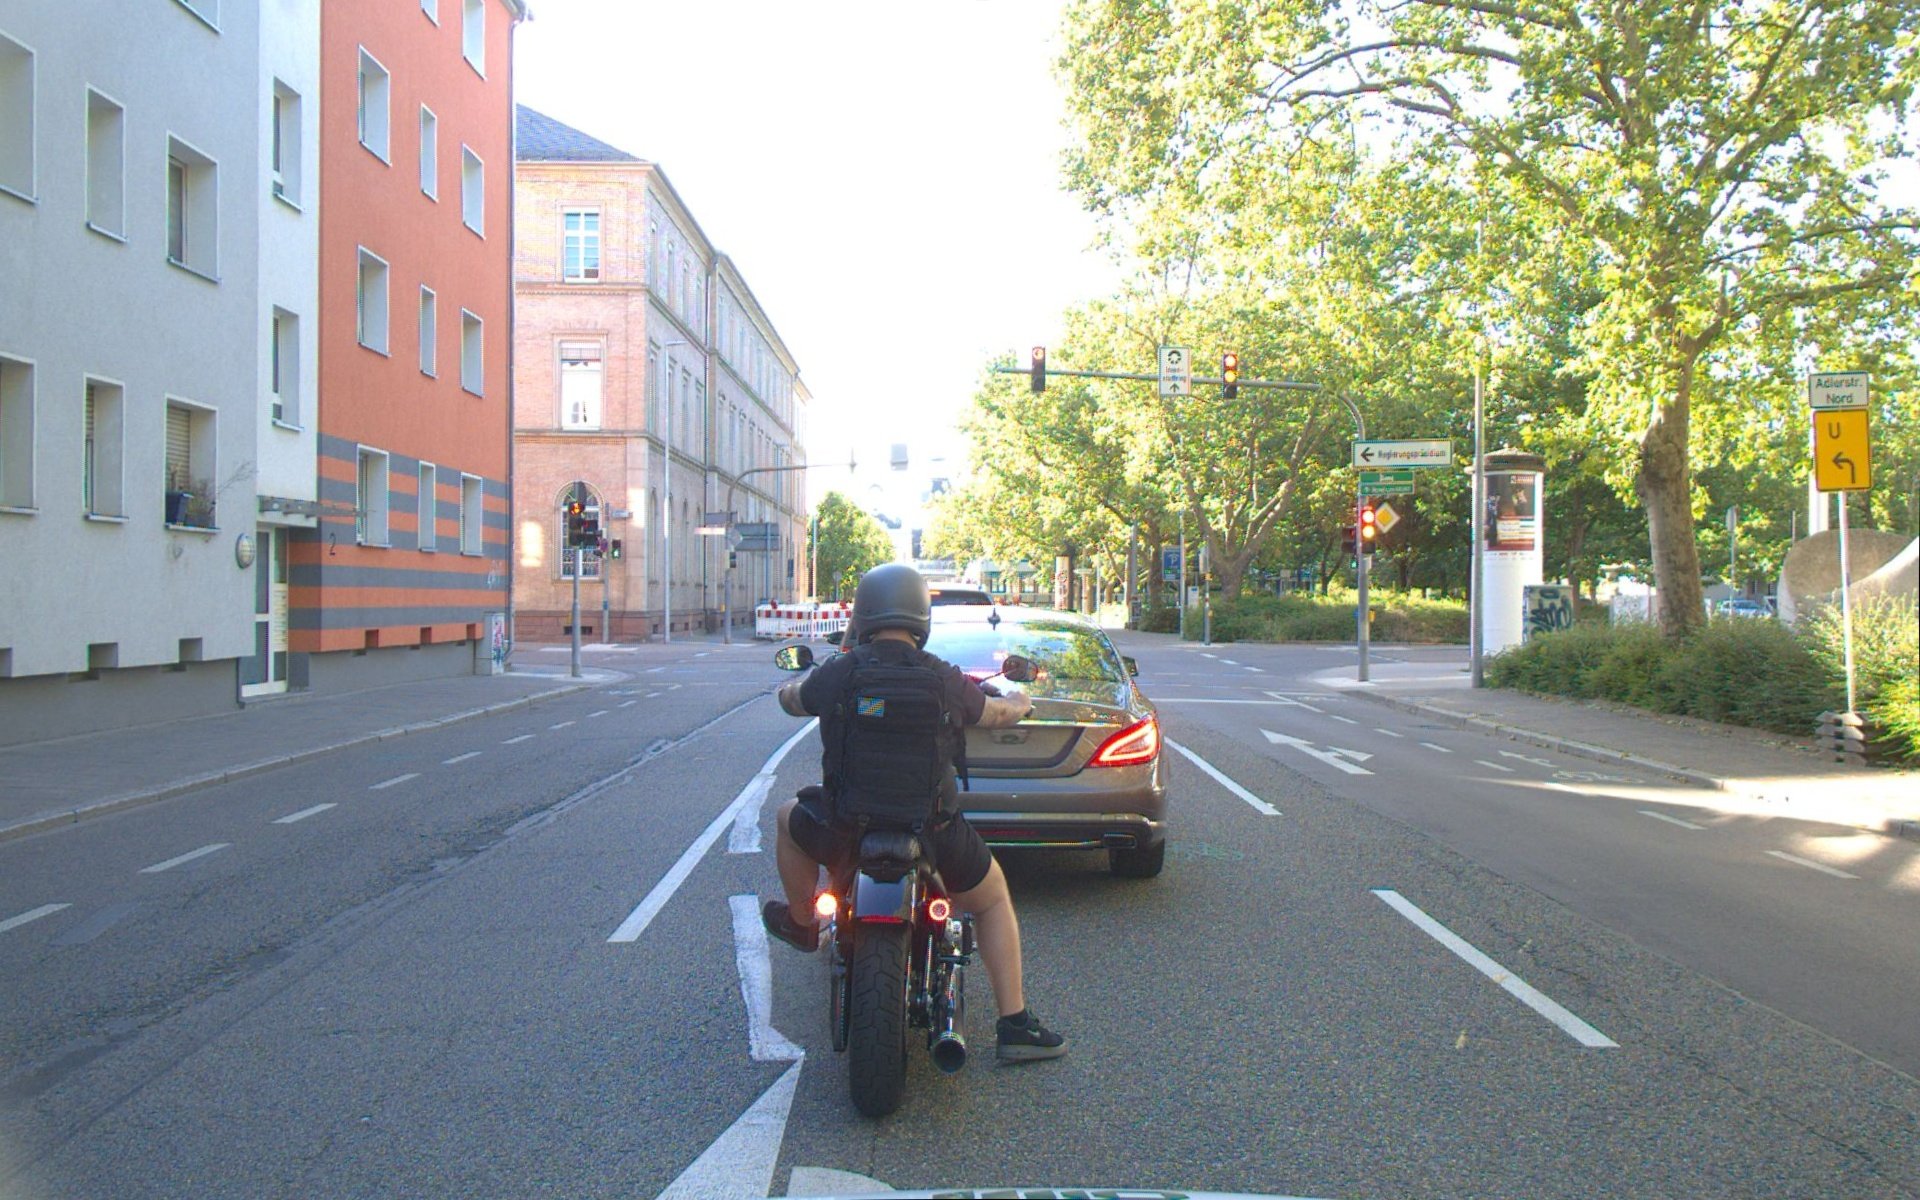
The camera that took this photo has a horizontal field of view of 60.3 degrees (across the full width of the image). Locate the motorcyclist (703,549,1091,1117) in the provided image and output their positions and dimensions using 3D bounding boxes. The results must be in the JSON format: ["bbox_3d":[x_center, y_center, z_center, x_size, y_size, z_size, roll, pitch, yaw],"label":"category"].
[{"bbox_3d":[-0.143,0.660,5.271,1.076,1.593,1.072,1,0,5],"label":"motorcyclist"}]

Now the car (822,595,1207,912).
[{"bbox_3d":[0.232,0.730,9.664,1.785,1.462,3.805,1,0,-1],"label":"car"}]

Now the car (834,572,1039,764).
[{"bbox_3d":[-0.241,0.621,16.936,1.825,1.707,3.999,1,0,-1],"label":"car"}]

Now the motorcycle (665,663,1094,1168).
[{"bbox_3d":[-0.130,0.871,5.492,1.094,1.228,2.213,1,0,5],"label":"motorcycle"}]
